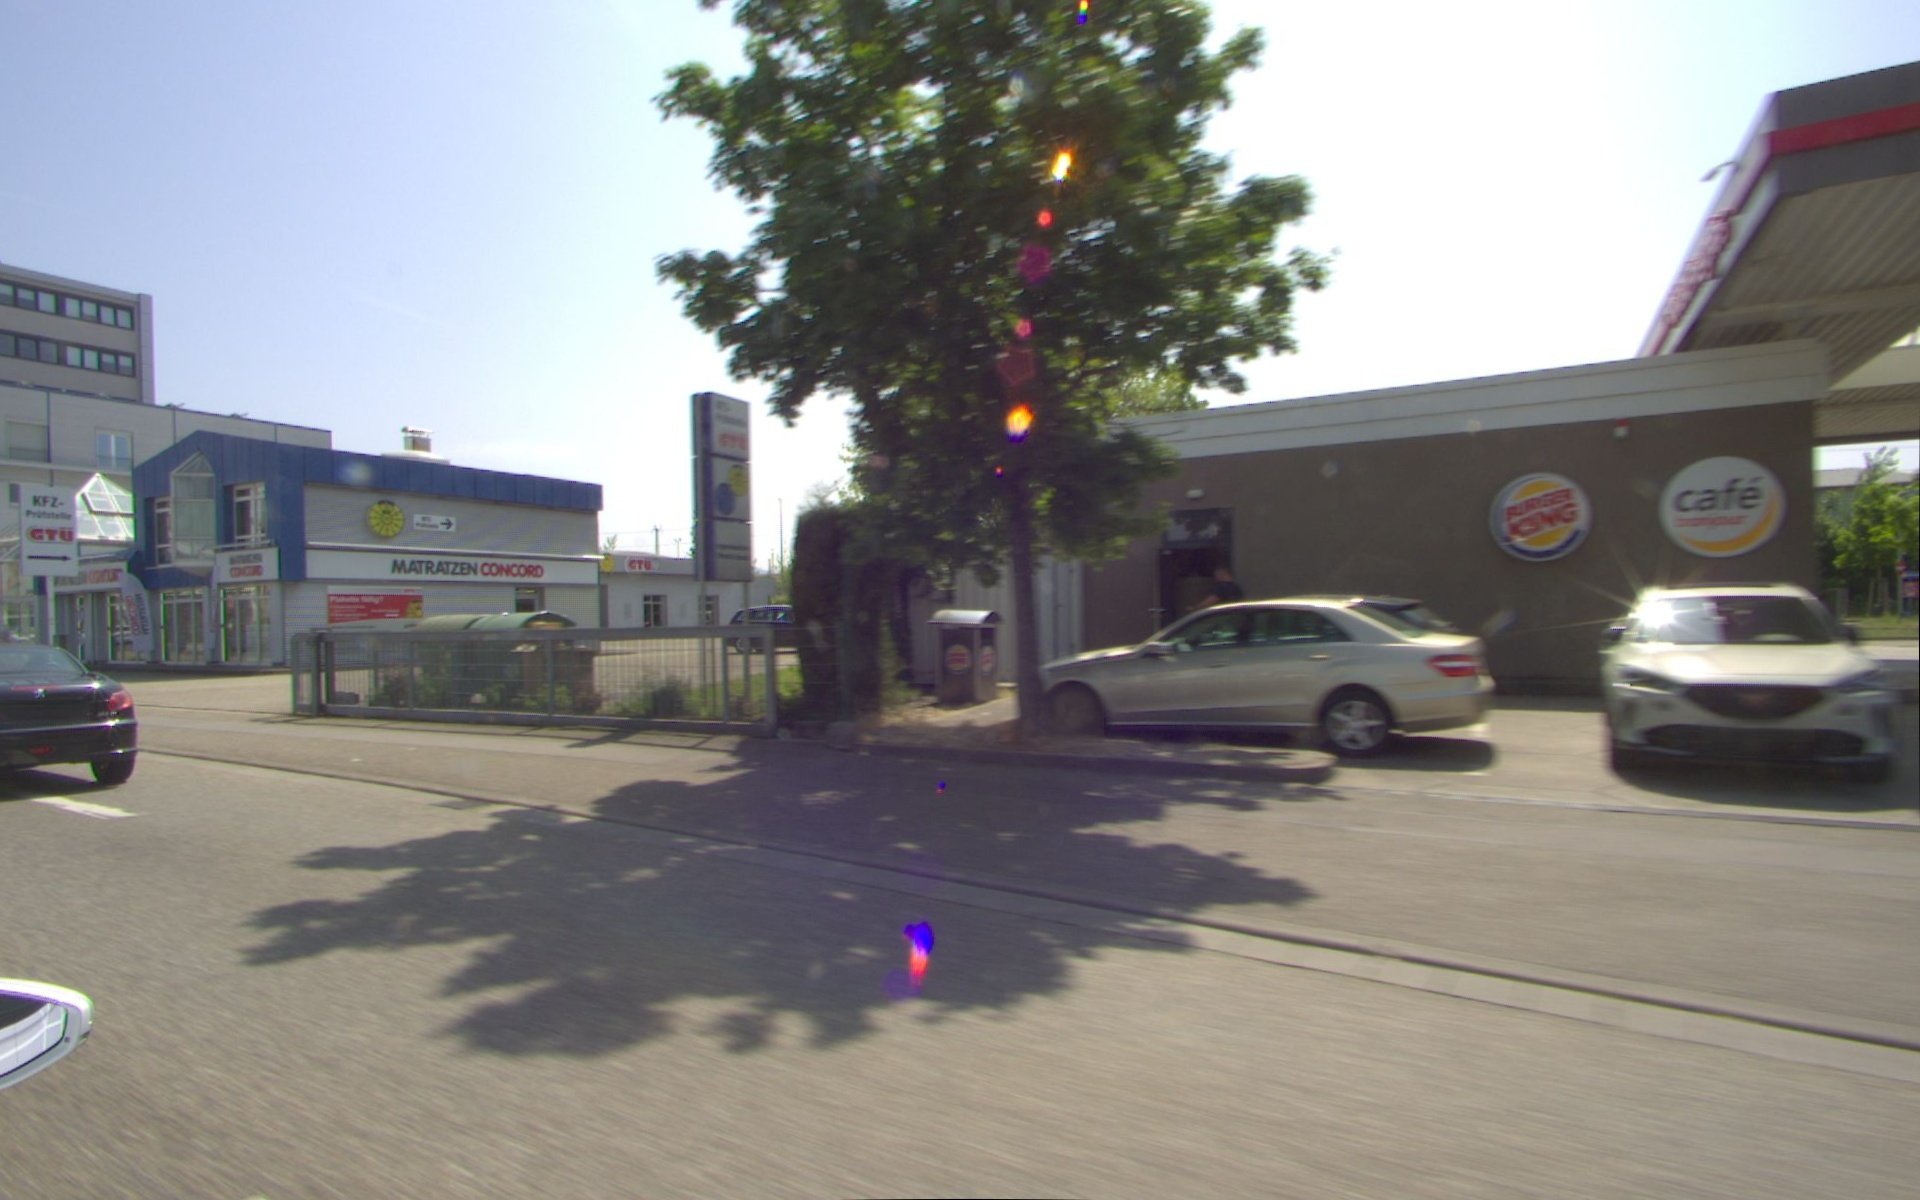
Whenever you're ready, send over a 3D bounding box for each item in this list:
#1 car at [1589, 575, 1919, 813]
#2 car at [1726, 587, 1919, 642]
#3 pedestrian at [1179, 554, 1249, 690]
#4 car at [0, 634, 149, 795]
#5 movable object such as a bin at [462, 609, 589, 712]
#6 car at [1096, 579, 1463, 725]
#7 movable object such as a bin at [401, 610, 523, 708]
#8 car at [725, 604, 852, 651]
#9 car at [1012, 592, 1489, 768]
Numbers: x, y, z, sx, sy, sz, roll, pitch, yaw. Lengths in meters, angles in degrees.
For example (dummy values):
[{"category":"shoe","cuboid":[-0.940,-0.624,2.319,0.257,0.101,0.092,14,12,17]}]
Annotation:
[{"category":"car","cuboid":[6.972,0.609,9.246,1.879,1.548,4.611,-1,2,31]},{"category":"car","cuboid":[24.360,0.406,28.341,3.923,1.439,2.000,-1,0,-5]},{"category":"pedestrian","cuboid":[3.949,0.346,15.570,0.696,2.039,0.814,1,-1,-40]},{"category":"car","cuboid":[-9.721,1.041,9.934,3.555,1.381,1.623,-1,-1,33]},{"category":"movable object such as a bin","cuboid":[-6.655,0.892,15.350,1.467,1.489,1.129,-1,0,30]},{"category":"car","cuboid":[4.056,0.590,12.776,4.187,1.557,1.898,-1,2,28]},{"category":"movable object such as a bin","cuboid":[-8.028,0.920,16.172,1.467,1.489,1.129,-1,0,30]},{"category":"car","cuboid":[-5.735,0.926,33.586,3.925,1.491,1.515,-1,0,12]},{"category":"car","cuboid":[3.007,0.728,10.602,4.566,1.486,1.791,-1,2,28]}]
